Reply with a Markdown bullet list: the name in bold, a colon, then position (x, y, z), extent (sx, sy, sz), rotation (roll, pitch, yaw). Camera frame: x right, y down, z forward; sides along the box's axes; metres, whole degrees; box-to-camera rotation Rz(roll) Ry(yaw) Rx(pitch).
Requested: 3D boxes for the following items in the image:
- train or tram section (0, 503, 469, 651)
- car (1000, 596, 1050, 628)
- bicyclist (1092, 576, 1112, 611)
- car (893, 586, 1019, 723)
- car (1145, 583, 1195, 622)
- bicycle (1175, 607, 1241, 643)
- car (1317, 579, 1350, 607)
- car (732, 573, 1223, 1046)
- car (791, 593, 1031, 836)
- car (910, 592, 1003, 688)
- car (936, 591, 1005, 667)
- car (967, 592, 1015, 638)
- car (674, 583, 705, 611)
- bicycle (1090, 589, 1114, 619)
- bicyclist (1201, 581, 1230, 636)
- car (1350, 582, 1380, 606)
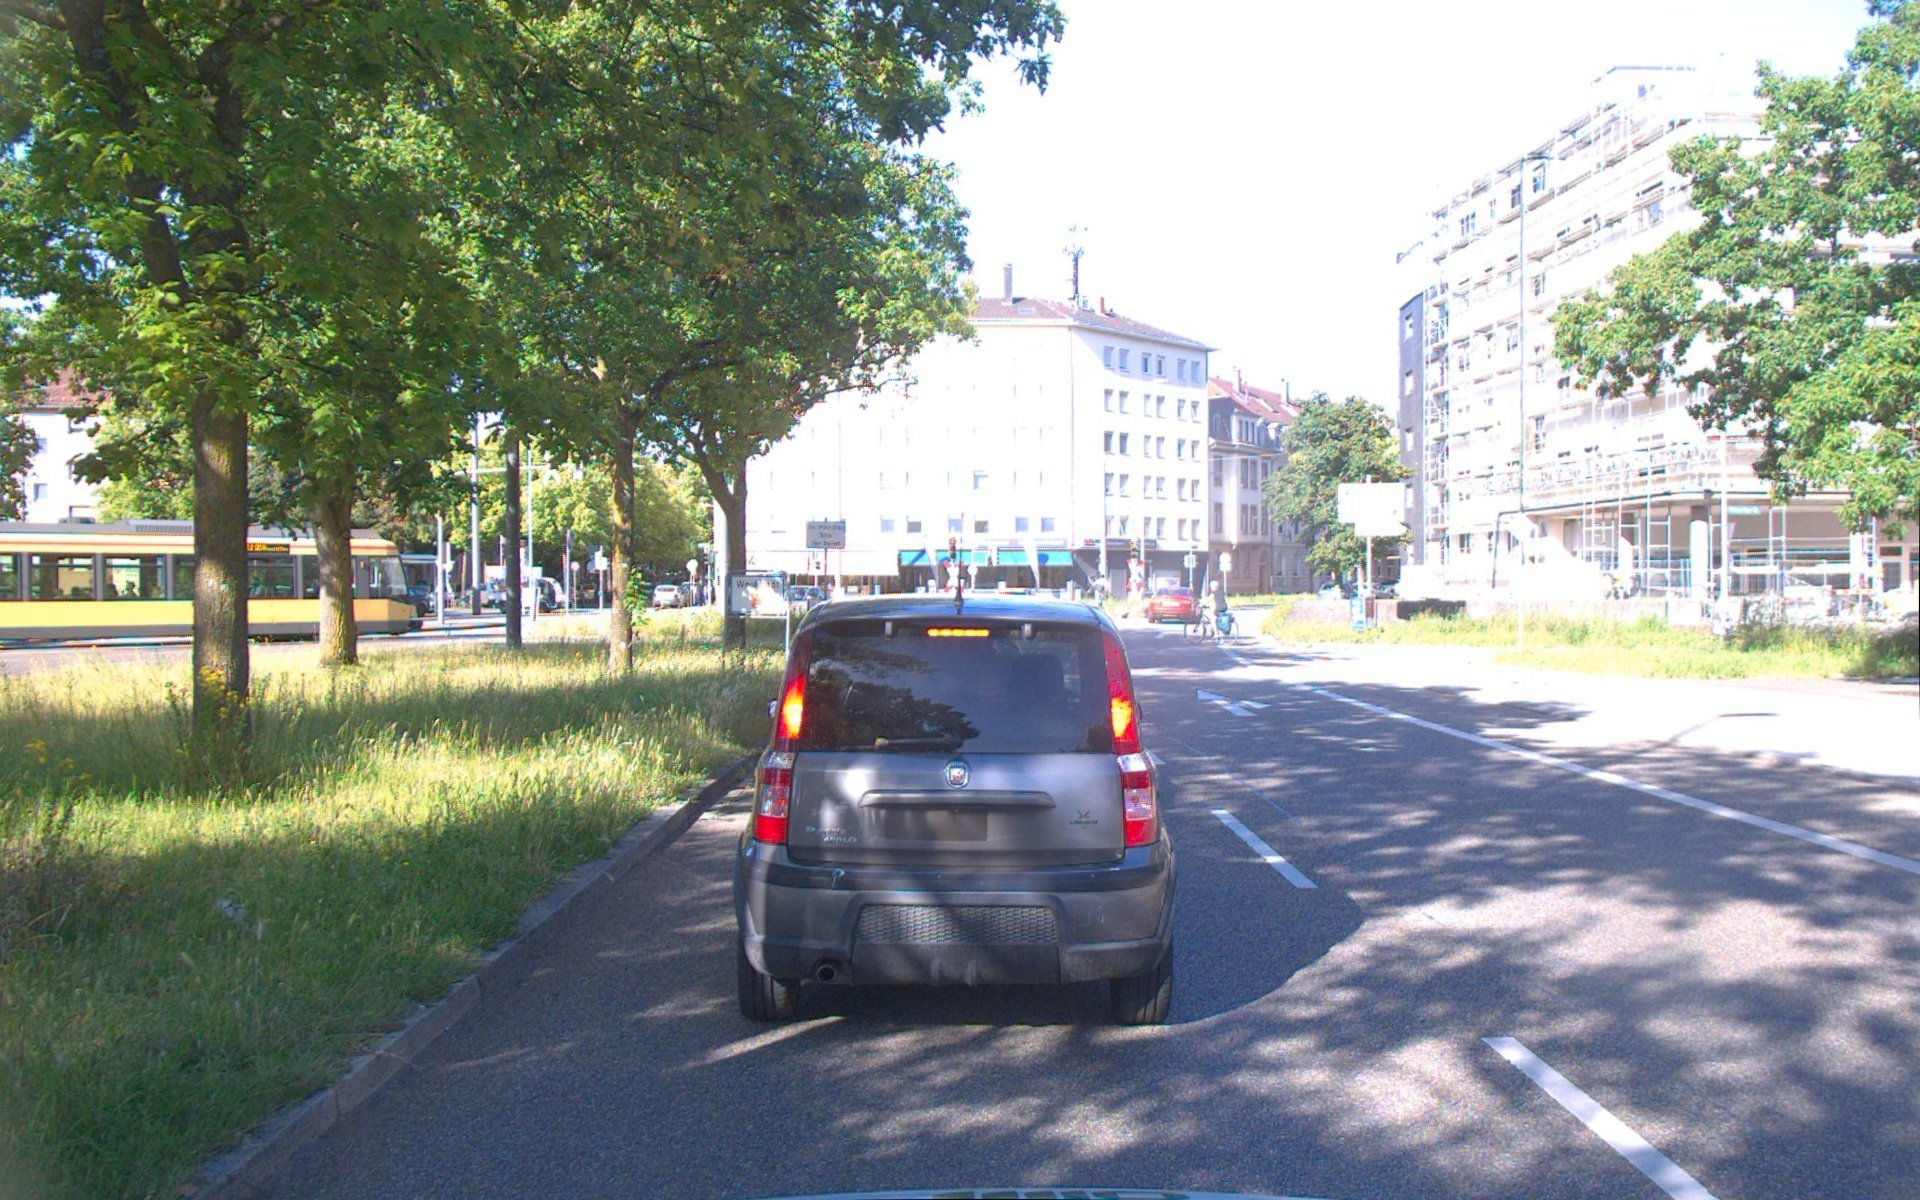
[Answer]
- **train or tram section**: position (-24.121, -0.628, 45.740), extent (20.602, 3.836, 3.260), rotation (-1, 1, -39)
- **car**: position (2.283, 0.403, 57.700), extent (1.118, 1.083, 2.723), rotation (0, 1, 17)
- **bicyclist**: position (5.938, -0.262, 69.386), extent (0.726, 1.463, 0.845), rotation (1, 0, -1)
- **car**: position (-0.072, 0.604, 20.671), extent (1.434, 1.534, 3.504), rotation (0, 1, -1)
- **car**: position (8.342, 0.076, 65.542), extent (1.847, 1.453, 4.390), rotation (0, 1, 8)
- **bicycle**: position (6.823, 0.688, 45.611), extent (1.760, 0.961, 0.558), rotation (0, 1, 38)
- **car**: position (20.503, -0.392, 90.712), extent (1.646, 1.475, 3.574), rotation (0, 1, 15)
- **car**: position (0.032, 0.659, 7.410), extent (1.595, 1.534, 3.999), rotation (0, 1, -1)
- **car**: position (-0.318, 0.681, 11.626), extent (1.434, 1.425, 3.393), rotation (0, 1, -1)
- **car**: position (-0.081, 0.609, 27.277), extent (1.434, 1.449, 3.381), rotation (0, 1, -1)
- **car**: position (0.177, 0.556, 33.859), extent (1.328, 1.475, 3.265), rotation (0, 0, -1)
- **car**: position (0.917, 0.425, 49.611), extent (1.328, 1.304, 2.875), rotation (0, 1, -1)
- **car**: position (-20.157, -0.238, 123.282), extent (1.954, 2.049, 3.996), rotation (0, 1, -5)
- **bicycle**: position (5.960, 0.170, 69.405), extent (0.694, 1.219, 2.519), rotation (1, 0, -2)
- **bicyclist**: position (7.023, 0.230, 45.441), extent (0.574, 1.519, 0.548), rotation (0, 0, 38)
- **car**: position (23.113, -0.337, 94.378), extent (1.495, 1.337, 3.289), rotation (0, 1, 17)
